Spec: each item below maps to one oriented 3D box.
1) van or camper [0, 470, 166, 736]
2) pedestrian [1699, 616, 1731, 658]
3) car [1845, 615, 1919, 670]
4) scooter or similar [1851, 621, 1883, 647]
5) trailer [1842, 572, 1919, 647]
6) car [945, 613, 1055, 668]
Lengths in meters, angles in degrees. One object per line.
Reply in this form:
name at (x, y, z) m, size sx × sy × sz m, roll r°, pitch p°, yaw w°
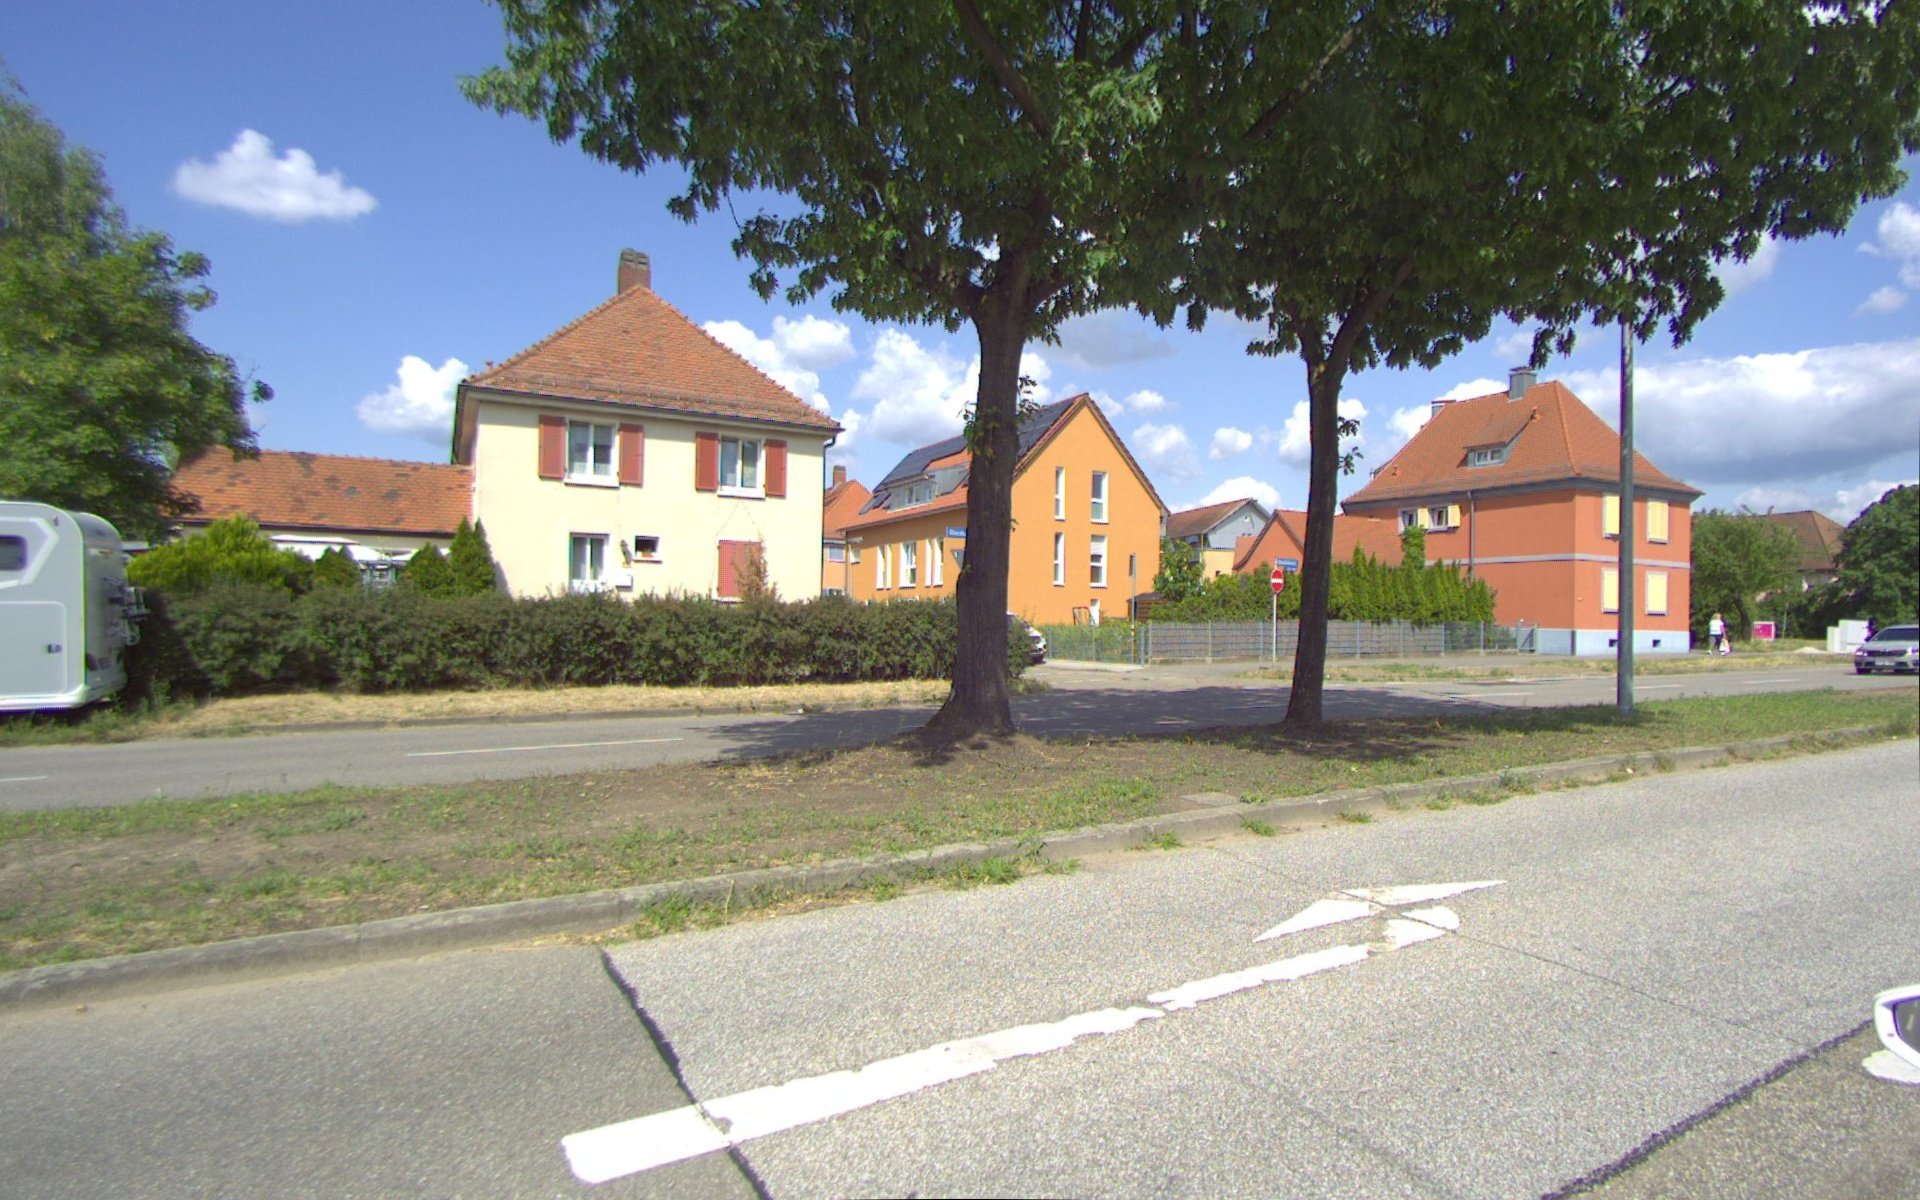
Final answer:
van or camper at (-14.080, -0.009, 11.720) m, size 7.228 × 3.154 × 2.249 m, roll 1°, pitch 1°, yaw -28°
pedestrian at (29.730, 1.445, 39.538) m, size 0.841 × 1.604 × 0.692 m, roll 2°, pitch 1°, yaw -30°
car at (28.231, 1.296, 29.681) m, size 4.598 × 1.527 × 1.725 m, roll 2°, pitch -5°, yaw -30°
scooter or similar at (42.377, 1.593, 46.935) m, size 1.741 × 1.179 × 0.586 m, roll 2°, pitch 1°, yaw -31°
trailer at (54.299, 0.519, 53.009) m, size 3.582 × 4.065 × 11.251 m, roll 1°, pitch 0°, yaw -24°
car at (1.238, 1.291, 32.919) m, size 1.973 × 1.639 × 3.975 m, roll 2°, pitch -1°, yaw -25°
